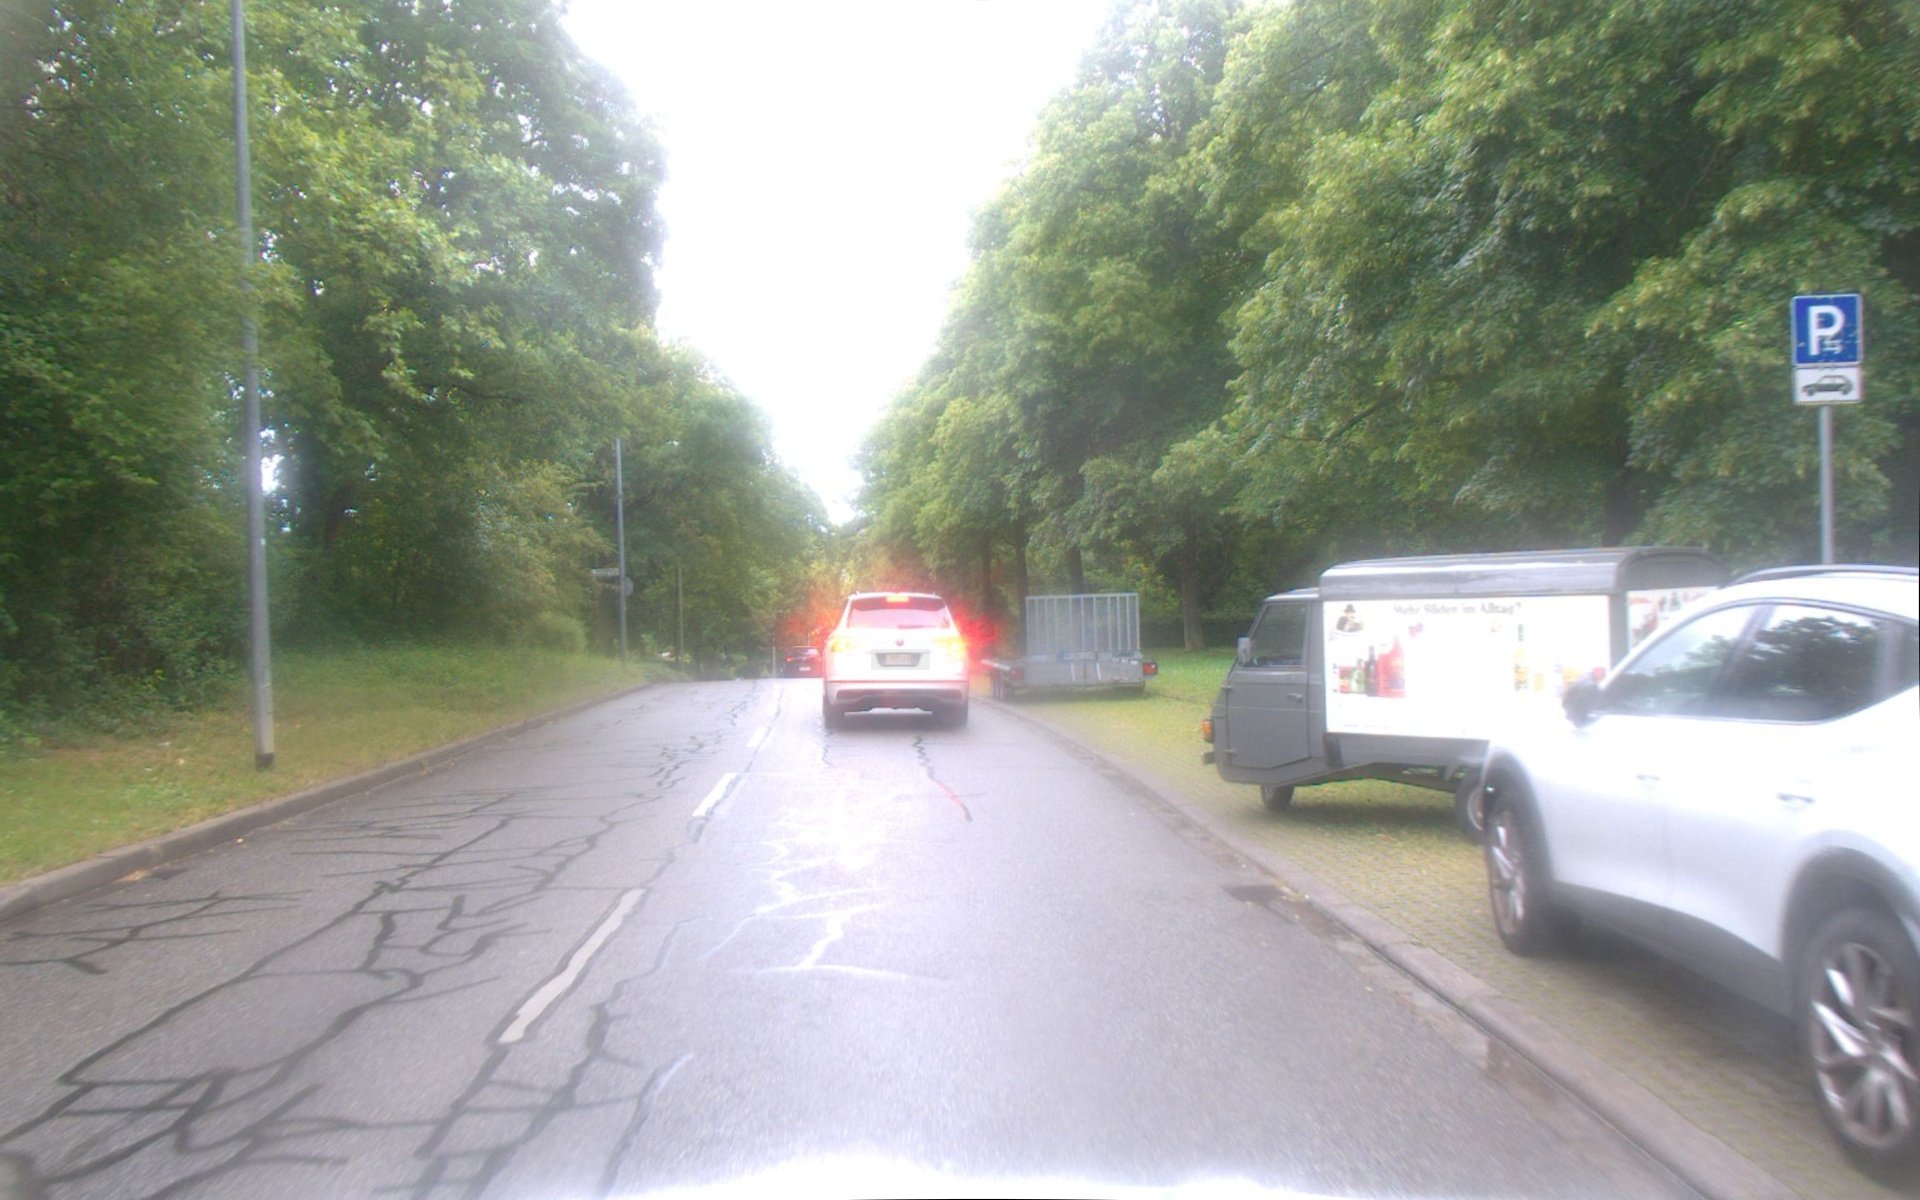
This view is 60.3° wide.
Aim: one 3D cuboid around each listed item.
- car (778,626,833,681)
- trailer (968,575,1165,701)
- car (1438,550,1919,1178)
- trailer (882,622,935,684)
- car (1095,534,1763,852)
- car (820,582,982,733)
[{"bbox_3d":[-6.656,2.269,70.751,1.958,2.048,3.990,-1,2,-11],"label":"car"},{"bbox_3d":[1.647,0.660,28.248,2.402,1.844,5.884,-2,-1,-6],"label":"trailer"},{"bbox_3d":[3.287,0.592,5.666,1.953,1.523,4.566,-2,1,0],"label":"car"},{"bbox_3d":[-1.894,1.936,59.974,1.501,2.112,3.993,-2,-2,-6],"label":"trailer"},{"bbox_3d":[2.906,0.555,10.905,1.599,1.710,3.944,-2,-1,-43],"label":"car"},{"bbox_3d":[-0.853,0.692,21.704,1.868,1.715,4.196,-2,0,-4],"label":"car"}]
